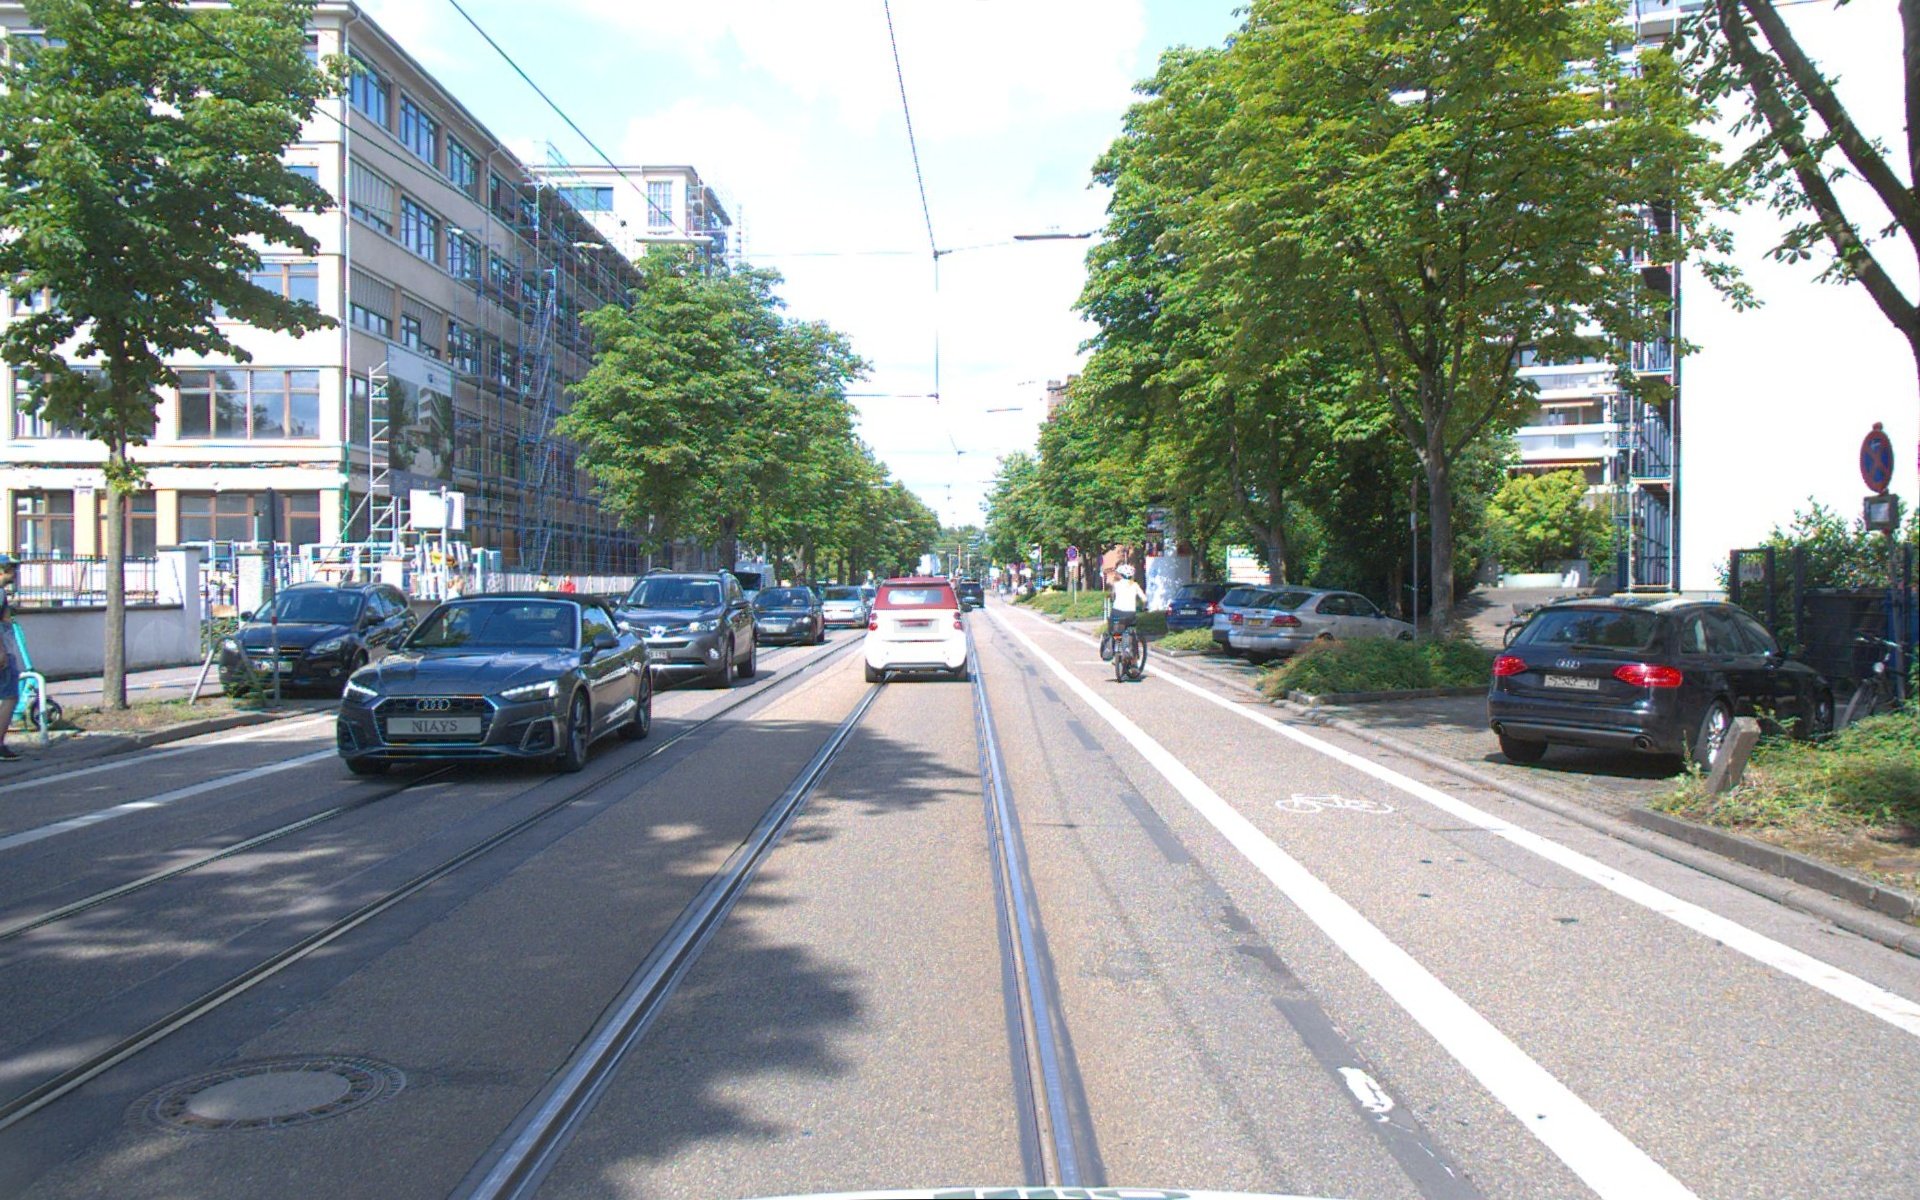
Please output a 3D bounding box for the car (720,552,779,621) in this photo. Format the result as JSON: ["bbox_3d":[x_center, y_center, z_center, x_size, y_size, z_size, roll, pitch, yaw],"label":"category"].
[{"bbox_3d":[-8.650,-0.567,68.378,1.733,2.685,5.322,-2,0,0],"label":"car"}]

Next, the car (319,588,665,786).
[{"bbox_3d":[-3.826,0.625,14.346,1.762,1.412,4.425,-1,1,-1],"label":"car"}]

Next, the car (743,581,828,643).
[{"bbox_3d":[-4.246,0.275,40.720,1.688,1.400,3.999,-2,0,-1],"label":"car"}]

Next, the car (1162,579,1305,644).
[{"bbox_3d":[6.882,0.260,41.375,1.589,1.512,3.973,-1,1,44],"label":"car"}]

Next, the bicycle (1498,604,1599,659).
[{"bbox_3d":[11.921,0.638,33.527,1.861,1.071,0.450,-1,1,31],"label":"bicycle"}]

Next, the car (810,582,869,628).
[{"bbox_3d":[-4.098,0.161,56.568,1.737,1.441,3.851,-2,0,-1],"label":"car"}]

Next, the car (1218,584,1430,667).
[{"bbox_3d":[6.989,0.445,31.551,4.200,1.444,1.700,0,2,-39],"label":"car"}]

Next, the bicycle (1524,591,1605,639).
[{"bbox_3d":[14.590,0.362,39.952,1.793,1.115,0.450,1,1,31],"label":"bicycle"}]

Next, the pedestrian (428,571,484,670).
[{"bbox_3d":[-8.636,0.342,28.345,0.718,1.665,0.684,1,0,-34],"label":"pedestrian"}]

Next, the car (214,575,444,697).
[{"bbox_3d":[-8.861,0.456,23.663,1.714,1.543,4.589,1,0,-3],"label":"car"}]

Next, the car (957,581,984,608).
[{"bbox_3d":[0.639,-0.349,101.539,1.631,1.653,3.620,0,1,-1],"label":"car"}]

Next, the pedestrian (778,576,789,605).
[{"bbox_3d":[-12.494,-0.657,117.093,0.788,2.049,0.484,0,0,-9],"label":"pedestrian"}]

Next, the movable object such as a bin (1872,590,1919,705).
[{"bbox_3d":[12.049,0.580,19.998,1.249,1.359,1.358,2,0,-2],"label":"movable object such as a bin"}]

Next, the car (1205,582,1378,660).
[{"bbox_3d":[6.976,0.415,34.662,3.772,1.500,1.628,0,2,-42],"label":"car"}]

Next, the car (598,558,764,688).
[{"bbox_3d":[-4.051,0.304,24.673,1.788,1.757,4.390,0,0,-1],"label":"car"}]

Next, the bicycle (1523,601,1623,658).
[{"bbox_3d":[12.496,0.600,33.735,1.861,1.115,0.450,-1,1,31],"label":"bicycle"}]

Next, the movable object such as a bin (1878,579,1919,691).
[{"bbox_3d":[13.391,0.481,22.759,1.239,1.506,0.936,2,2,27],"label":"movable object such as a bin"}]

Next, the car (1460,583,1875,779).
[{"bbox_3d":[6.531,0.655,14.993,1.997,1.467,4.505,2,0,44],"label":"car"}]

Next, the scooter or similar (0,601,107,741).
[{"bbox_3d":[-9.215,0.670,16.137,1.311,1.302,0.855,1,0,-2],"label":"scooter or similar"}]

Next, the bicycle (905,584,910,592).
[{"bbox_3d":[-6.523,-1.523,204.573,0.606,0.990,1.716,0,1,-2],"label":"bicycle"}]

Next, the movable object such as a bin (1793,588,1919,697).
[{"bbox_3d":[11.874,0.541,21.659,1.249,1.359,1.236,2,0,-2],"label":"movable object such as a bin"}]

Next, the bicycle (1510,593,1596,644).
[{"bbox_3d":[13.566,0.434,37.856,1.793,1.114,0.450,-1,3,31],"label":"bicycle"}]

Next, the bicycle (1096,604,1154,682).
[{"bbox_3d":[2.614,0.657,26.173,0.856,1.145,2.137,1,0,6],"label":"bicycle"}]

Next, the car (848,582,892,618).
[{"bbox_3d":[-3.777,-0.011,69.959,1.652,1.430,4.226,0,0,0],"label":"car"}]

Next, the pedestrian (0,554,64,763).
[{"bbox_3d":[-8.568,0.495,14.663,0.734,1.797,0.791,1,0,7],"label":"pedestrian"}]

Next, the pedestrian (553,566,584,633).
[{"bbox_3d":[-11.169,-0.024,47.188,0.694,1.863,0.661,3,2,-6],"label":"pedestrian"}]

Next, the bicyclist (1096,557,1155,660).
[{"bbox_3d":[2.616,0.129,26.088,0.871,1.555,1.086,1,0,6],"label":"bicyclist"}]

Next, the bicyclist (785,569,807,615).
[{"bbox_3d":[-7.414,-0.376,74.982,0.859,2.049,0.833,-2,-1,-1],"label":"bicyclist"}]

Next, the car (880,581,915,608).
[{"bbox_3d":[-3.692,-0.317,98.120,1.763,1.534,4.537,1,0,2],"label":"car"}]

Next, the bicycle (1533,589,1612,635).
[{"bbox_3d":[15.179,0.300,40.987,1.793,1.115,0.450,0,1,31],"label":"bicycle"}]

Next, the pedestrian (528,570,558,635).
[{"bbox_3d":[-11.878,0.080,47.153,0.693,1.824,0.661,1,0,-6],"label":"pedestrian"}]

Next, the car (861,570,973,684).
[{"bbox_3d":[-0.654,0.363,25.977,1.631,1.653,3.620,0,1,-1],"label":"car"}]
